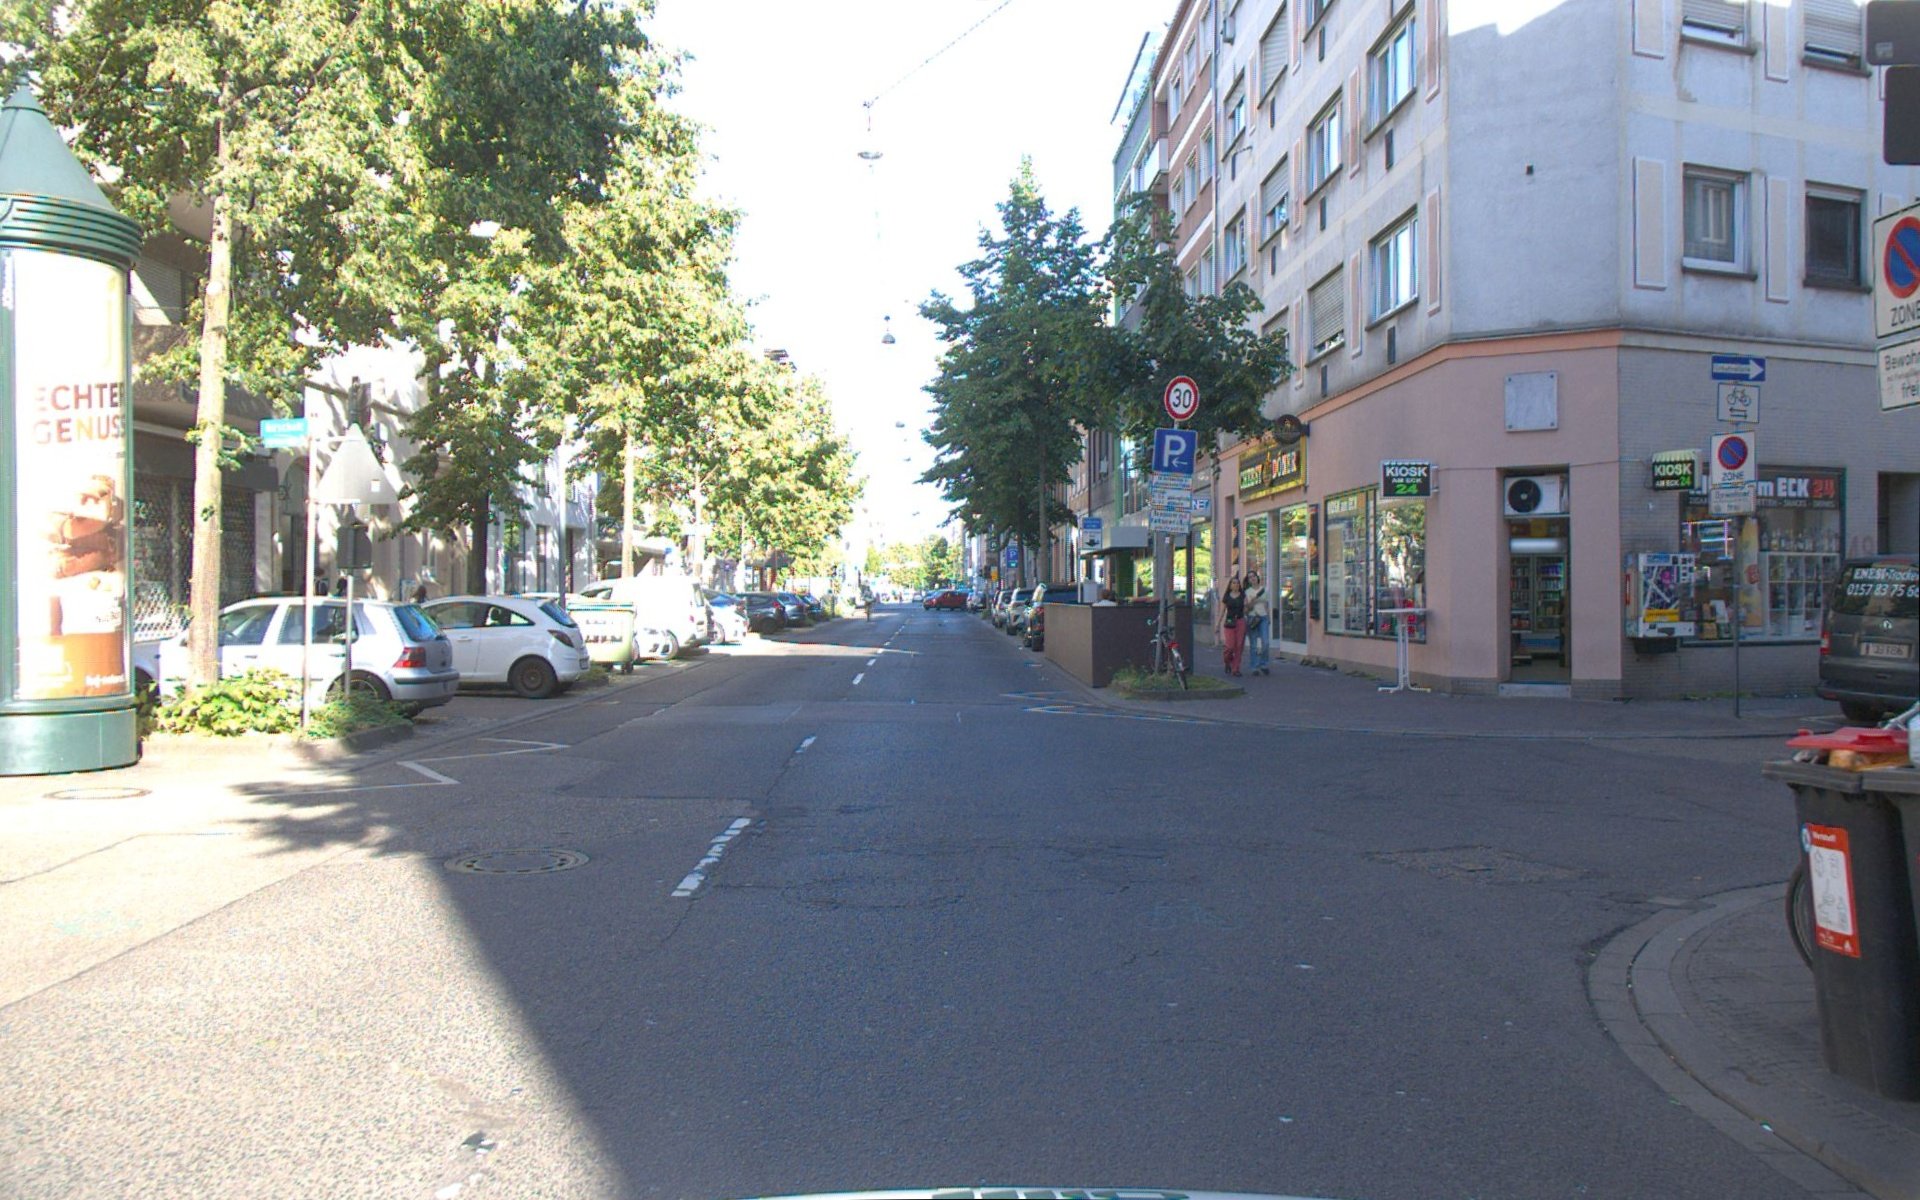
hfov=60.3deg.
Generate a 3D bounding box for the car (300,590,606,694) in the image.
[{"bbox_3d":[-7.404,0.591,24.467,3.907,1.414,1.999,-1,0,-2],"label":"car"}]

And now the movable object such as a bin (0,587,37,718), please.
[{"bbox_3d":[-11.672,0.612,19.245,1.148,1.511,1.314,-1,0,-3],"label":"movable object such as a bin"}]

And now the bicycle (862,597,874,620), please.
[{"bbox_3d":[-4.768,0.453,85.696,0.549,1.200,1.628,0,-1,-1],"label":"bicycle"}]

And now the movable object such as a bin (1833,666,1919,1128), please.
[{"bbox_3d":[2.967,0.821,4.605,0.691,1.244,0.680,-1,0,-3],"label":"movable object such as a bin"}]

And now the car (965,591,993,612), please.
[{"bbox_3d":[1.371,0.092,123.835,1.953,1.534,3.999,0,-1,-2],"label":"car"}]

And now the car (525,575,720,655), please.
[{"bbox_3d":[-7.585,0.328,37.376,3.903,1.724,2.001,-1,0,3],"label":"car"}]

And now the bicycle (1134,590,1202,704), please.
[{"bbox_3d":[2.853,0.623,22.814,0.549,1.465,1.628,-6,0,-1],"label":"bicycle"}]

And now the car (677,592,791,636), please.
[{"bbox_3d":[-8.192,0.498,60.132,3.907,1.526,1.999,-1,0,-2],"label":"car"}]

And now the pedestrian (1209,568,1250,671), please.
[{"bbox_3d":[4.473,0.316,27.481,0.536,1.678,0.664,-1,0,-1],"label":"pedestrian"}]

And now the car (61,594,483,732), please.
[{"bbox_3d":[-7.629,0.667,18.674,3.907,1.414,1.999,-1,0,-2],"label":"car"}]

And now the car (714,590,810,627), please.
[{"bbox_3d":[-8.474,0.346,70.897,3.907,1.526,1.999,-1,0,-2],"label":"car"}]

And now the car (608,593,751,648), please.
[{"bbox_3d":[-8.218,0.599,48.685,3.907,1.526,1.999,-1,-1,-2],"label":"car"}]

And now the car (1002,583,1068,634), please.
[{"bbox_3d":[2.509,0.254,55.849,1.953,1.637,3.999,-1,0,-1],"label":"car"}]

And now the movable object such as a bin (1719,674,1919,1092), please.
[{"bbox_3d":[2.955,0.863,5.332,0.646,1.200,0.739,-1,0,-3],"label":"movable object such as a bin"}]

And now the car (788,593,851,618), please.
[{"bbox_3d":[-8.912,0.338,105.085,3.907,1.526,1.999,-1,0,-2],"label":"car"}]

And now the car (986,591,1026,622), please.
[{"bbox_3d":[2.458,0.325,88.828,1.953,1.637,3.999,-1,0,-1],"label":"car"}]

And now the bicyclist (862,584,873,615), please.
[{"bbox_3d":[-4.777,-0.016,85.712,0.549,1.575,0.728,0,-1,-1],"label":"bicyclist"}]

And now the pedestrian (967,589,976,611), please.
[{"bbox_3d":[0.793,-0.006,114.761,0.534,1.498,0.546,-1,0,-3],"label":"pedestrian"}]

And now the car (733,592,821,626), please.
[{"bbox_3d":[-8.514,0.411,77.142,3.907,1.526,1.999,-1,0,-2],"label":"car"}]

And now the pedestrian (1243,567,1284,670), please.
[{"bbox_3d":[5.033,0.303,27.481,0.536,1.678,0.664,-1,0,-1],"label":"pedestrian"}]

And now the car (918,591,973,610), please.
[{"bbox_3d":[-1.150,0.040,130.993,3.954,1.467,1.975,1,-1,-36],"label":"car"}]

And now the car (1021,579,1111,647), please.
[{"bbox_3d":[2.668,0.303,42.477,1.953,1.637,3.999,-1,0,-1],"label":"car"}]

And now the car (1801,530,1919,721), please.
[{"bbox_3d":[12.120,0.242,19.160,4.628,2.049,1.982,-1,0,-28],"label":"car"}]

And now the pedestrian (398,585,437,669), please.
[{"bbox_3d":[-11.015,0.547,33.602,0.535,1.678,0.664,-1,0,1],"label":"pedestrian"}]

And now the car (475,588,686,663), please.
[{"bbox_3d":[-7.884,0.518,34.570,3.903,1.482,1.869,-1,0,3],"label":"car"}]

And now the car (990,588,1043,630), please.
[{"bbox_3d":[2.295,0.353,68.482,1.953,1.637,3.999,-1,0,-1],"label":"car"}]

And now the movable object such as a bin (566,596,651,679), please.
[{"bbox_3d":[-6.604,0.689,31.160,1.307,1.504,1.480,-1,0,-2],"label":"movable object such as a bin"}]

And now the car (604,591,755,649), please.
[{"bbox_3d":[-7.781,0.538,46.189,3.907,1.526,1.999,-1,0,-2],"label":"car"}]

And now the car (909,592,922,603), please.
[{"bbox_3d":[-6.208,-0.372,230.519,1.756,1.436,3.999,-1,0,-1],"label":"car"}]
